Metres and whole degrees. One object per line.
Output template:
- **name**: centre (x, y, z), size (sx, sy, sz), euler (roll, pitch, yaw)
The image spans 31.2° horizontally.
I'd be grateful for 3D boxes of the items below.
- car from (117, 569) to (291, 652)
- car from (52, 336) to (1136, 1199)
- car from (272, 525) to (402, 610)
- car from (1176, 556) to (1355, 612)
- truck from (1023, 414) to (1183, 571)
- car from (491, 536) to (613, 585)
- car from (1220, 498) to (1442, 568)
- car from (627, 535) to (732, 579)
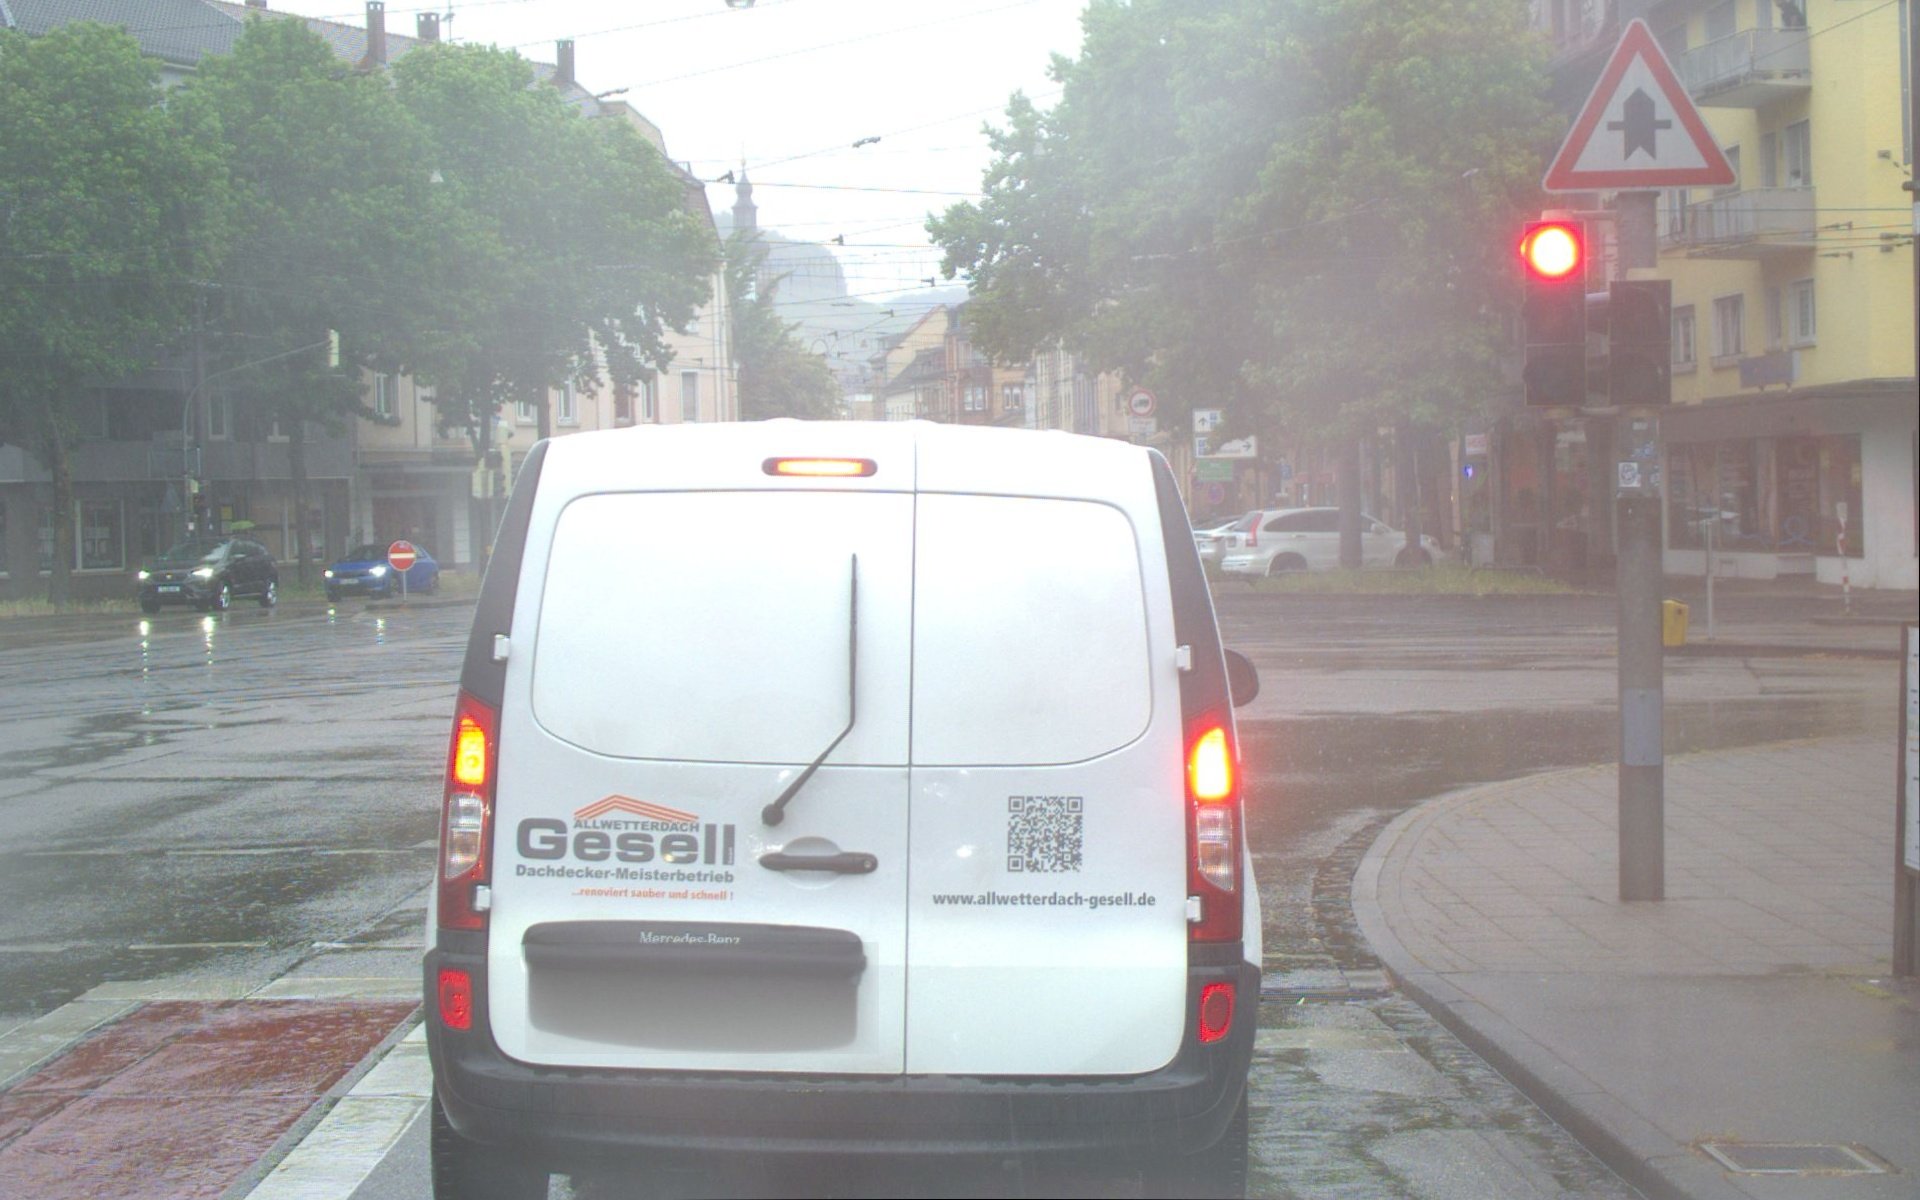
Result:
- **car**: centre (-16.209, 0.196, 73.910), size (1.952, 1.602, 3.997), euler (0, 2, 16)
- **car**: centre (-0.738, 0.468, 9.186), size (2.100, 2.005, 4.963), euler (0, 1, -1)
- **car**: centre (-15.237, -0.808, 84.237), size (1.994, 2.007, 3.999), euler (0, 1, 8)
- **car**: centre (6.290, -0.335, 70.903), size (3.441, 1.126, 1.472), euler (0, 1, -8)
- **truck**: centre (5.118, -3.590, 118.718), size (3.471, 5.070, 15.301), euler (0, 1, 10)
- **car**: centre (-11.309, -1.121, 95.605), size (1.952, 1.235, 3.997), euler (0, 2, 16)
- **car**: centre (7.425, -1.347, 68.945), size (4.165, 1.334, 1.521), euler (-1, 2, -7)
- **car**: centre (-8.713, -1.357, 107.102), size (1.952, 1.235, 3.997), euler (0, 2, 16)
